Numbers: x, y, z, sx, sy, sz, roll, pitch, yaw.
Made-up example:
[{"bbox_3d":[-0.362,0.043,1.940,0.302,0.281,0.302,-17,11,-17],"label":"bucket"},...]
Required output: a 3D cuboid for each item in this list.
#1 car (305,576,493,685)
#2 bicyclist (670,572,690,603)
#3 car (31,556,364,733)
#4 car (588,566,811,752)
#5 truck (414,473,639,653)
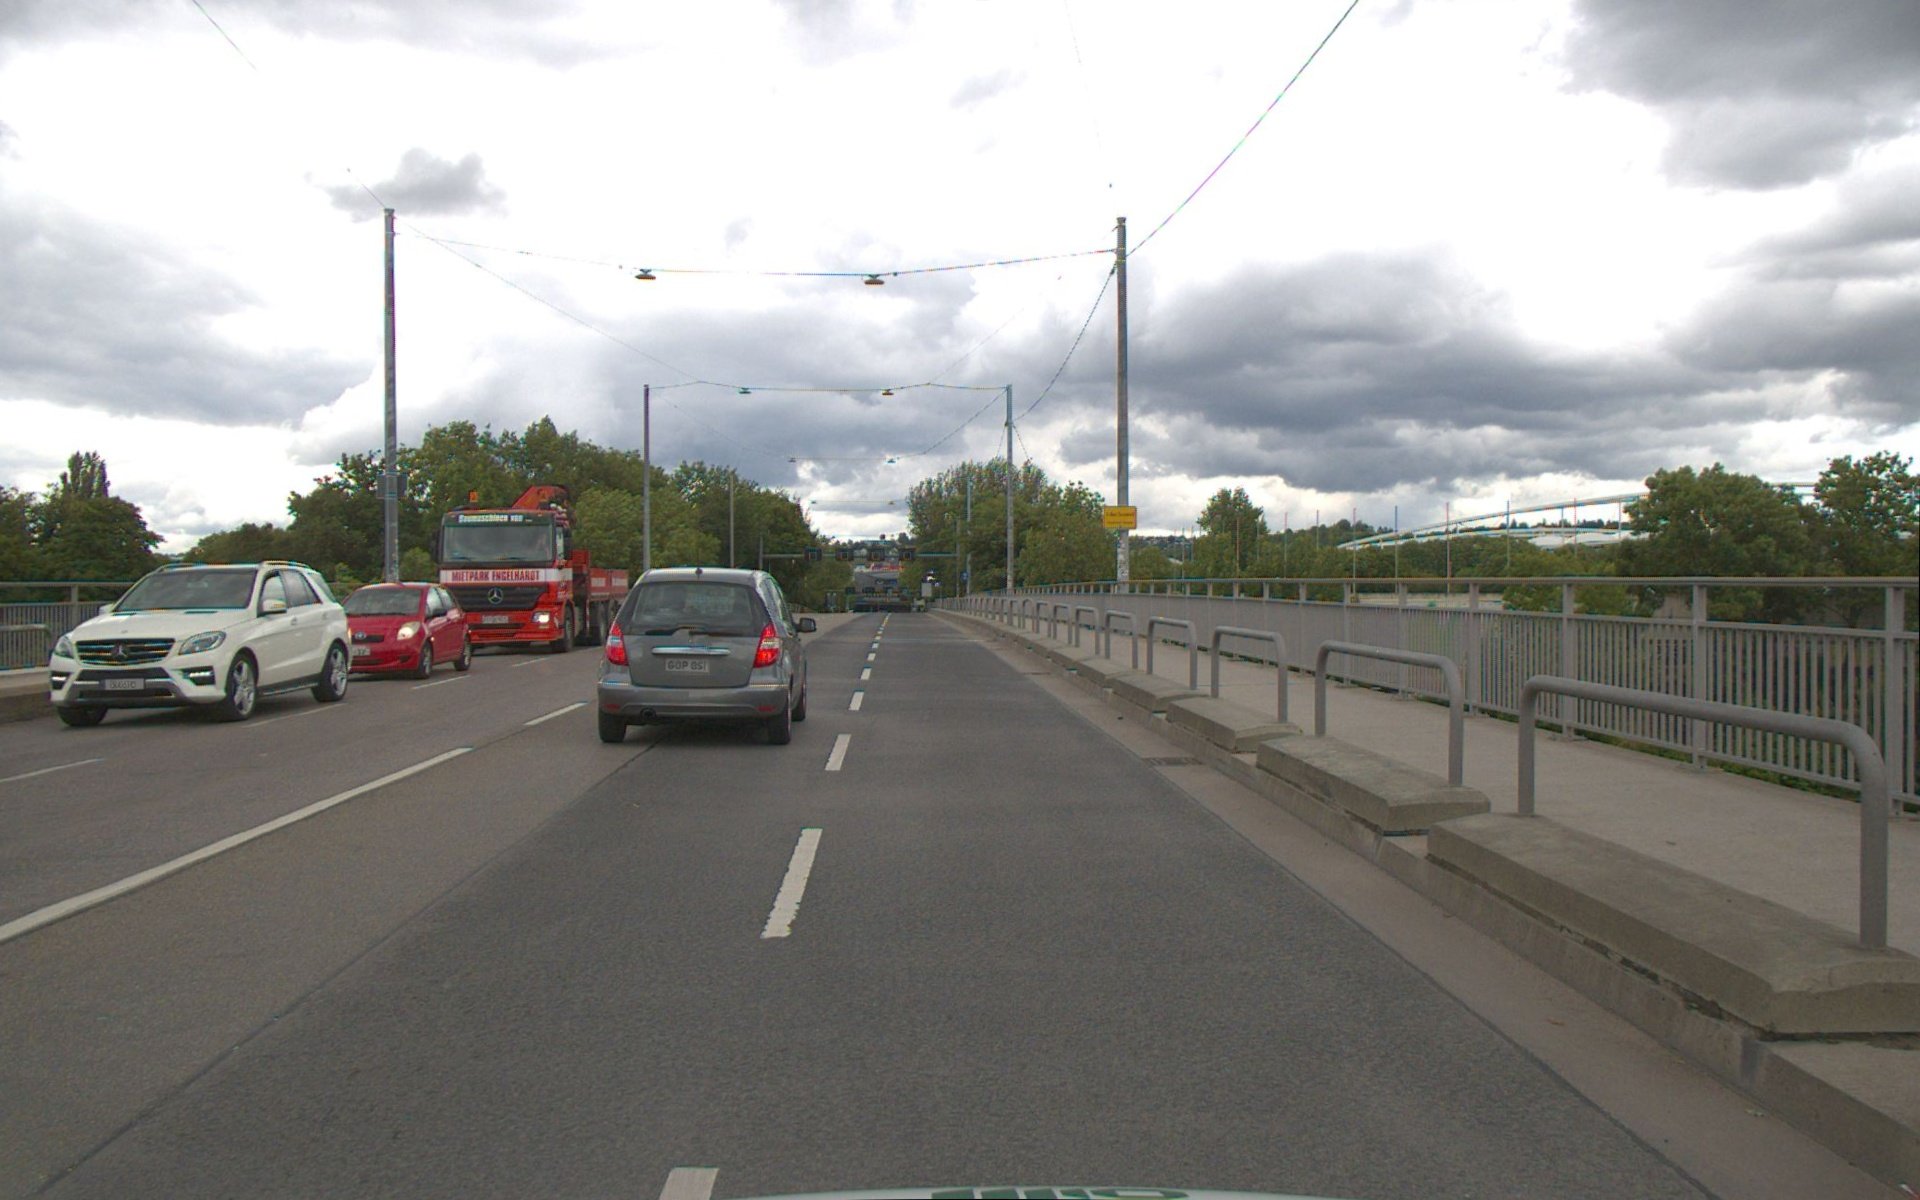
[{"bbox_3d":[-9.143,0.446,27.297,1.842,1.631,4.013,-1,0,-2],"label":"car"},{"bbox_3d":[-16.621,-0.750,98.306,1.111,1.795,0.904,0,-1,-7],"label":"bicyclist"},{"bbox_3d":[-8.740,0.438,19.497,1.842,1.792,4.800,-1,0,-2],"label":"car"},{"bbox_3d":[-2.412,0.497,16.160,1.710,1.577,3.869,1,0,-3],"label":"car"},{"bbox_3d":[-9.787,-0.792,38.649,2.945,3.628,9.977,-1,0,-2],"label":"truck"}]
